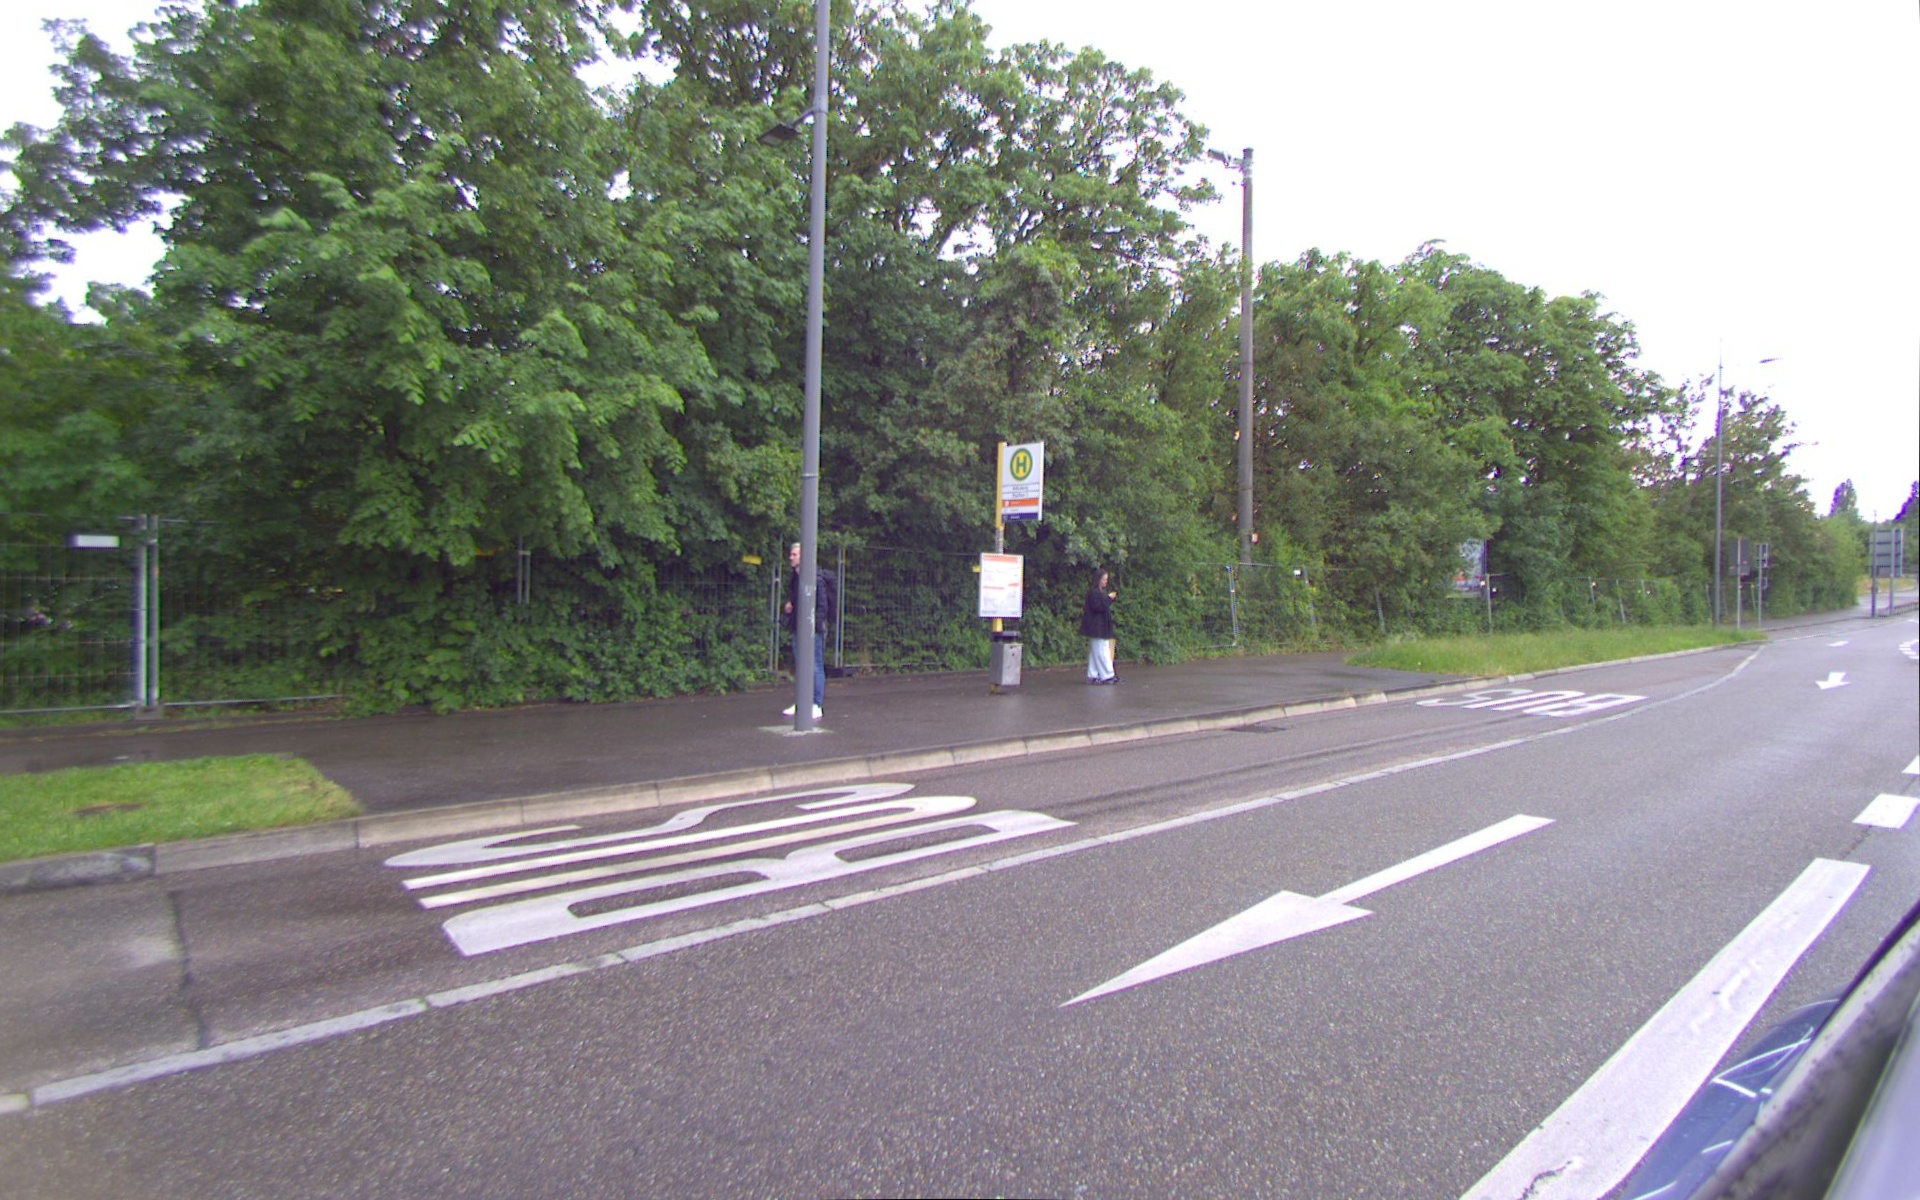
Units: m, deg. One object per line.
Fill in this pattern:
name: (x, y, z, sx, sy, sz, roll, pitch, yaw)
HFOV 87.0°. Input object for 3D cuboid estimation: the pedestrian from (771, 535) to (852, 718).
pedestrian: (-1.671, 0.273, 11.357, 0.587, 1.973, 0.742, 0, 1, -40)

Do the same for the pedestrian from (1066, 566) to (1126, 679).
pedestrian: (2.042, 0.323, 15.226, 0.650, 1.648, 0.588, 0, 1, -40)
